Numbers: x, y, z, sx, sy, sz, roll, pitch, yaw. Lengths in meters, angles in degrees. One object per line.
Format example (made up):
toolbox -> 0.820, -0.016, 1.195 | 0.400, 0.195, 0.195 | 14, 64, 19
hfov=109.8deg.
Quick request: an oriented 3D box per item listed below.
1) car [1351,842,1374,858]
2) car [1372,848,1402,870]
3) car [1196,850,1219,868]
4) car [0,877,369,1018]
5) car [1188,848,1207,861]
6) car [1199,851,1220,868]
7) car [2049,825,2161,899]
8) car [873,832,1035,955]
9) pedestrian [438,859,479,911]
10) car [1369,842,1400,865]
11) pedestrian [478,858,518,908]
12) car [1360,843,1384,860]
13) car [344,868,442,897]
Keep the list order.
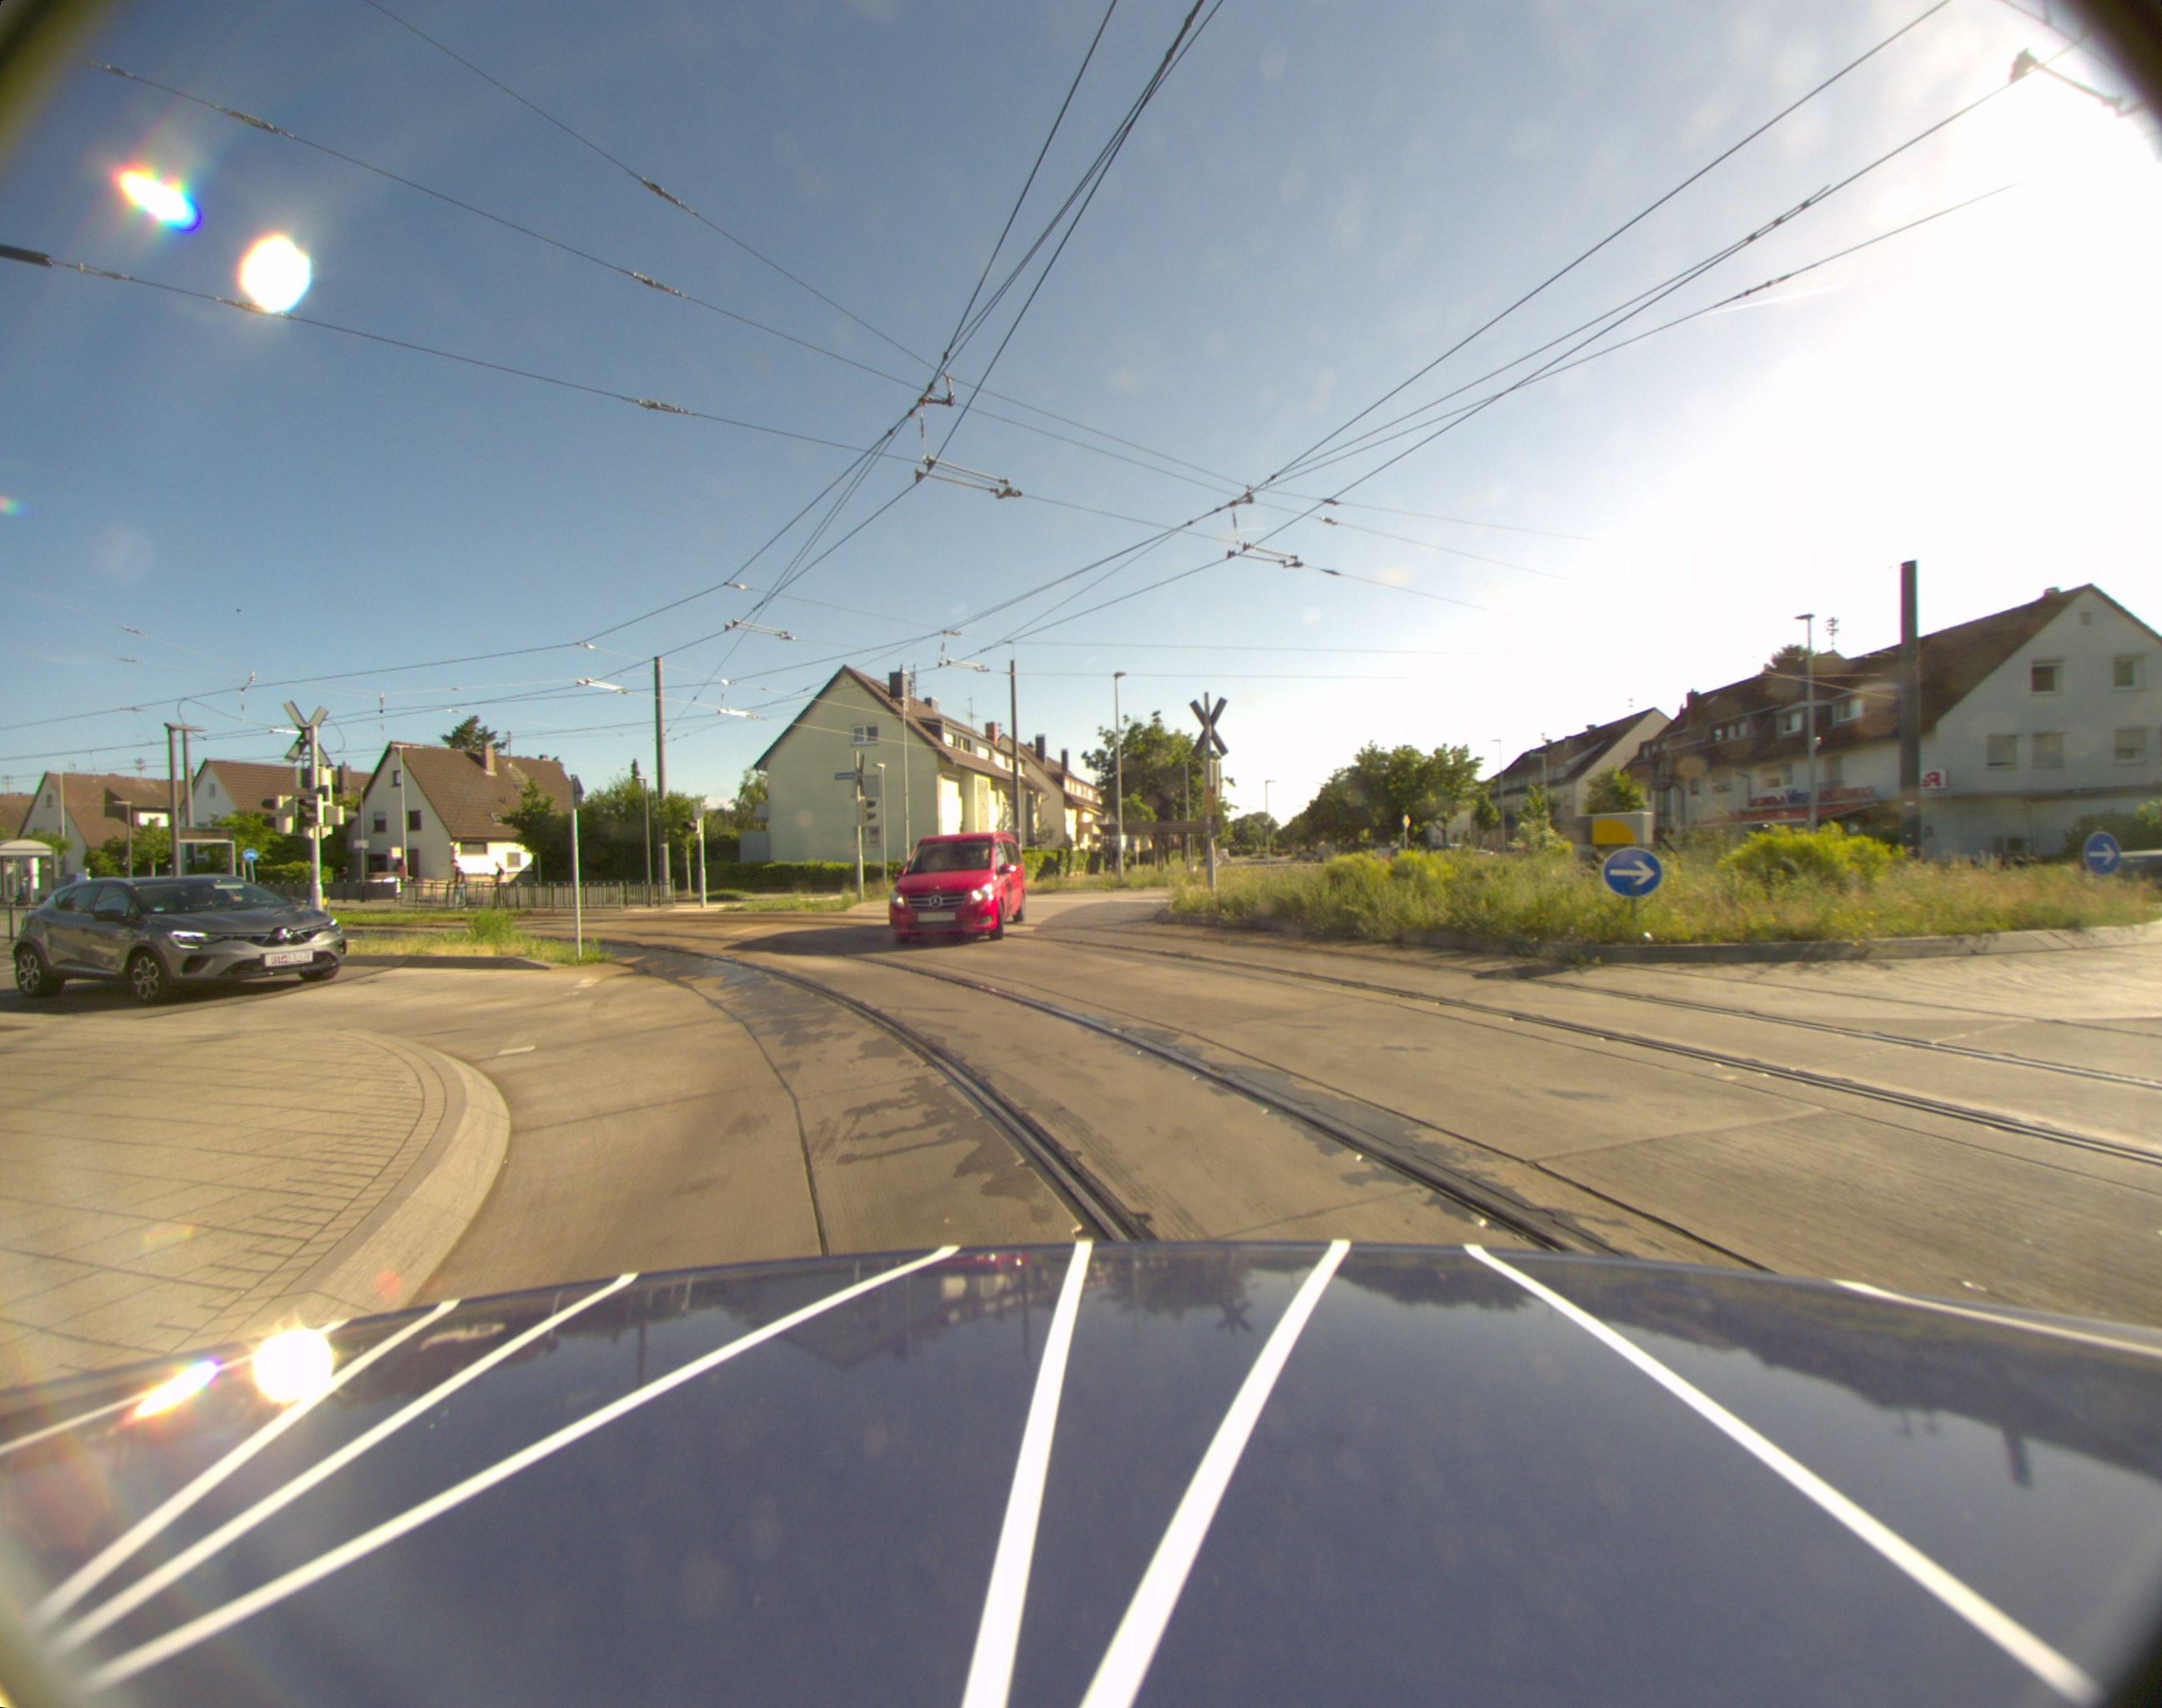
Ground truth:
car -> 30.172, -0.400, 81.444 | 1.549, 1.667, 4.224 | -1, 0, 10
car -> 26.408, 0.404, 65.627 | 1.921, 1.607, 4.287 | -1, 2, 15
car -> 11.451, 0.453, 68.578 | 1.824, 1.385, 3.792 | -1, 2, 12
car -> -12.331, 1.187, 10.465 | 3.992, 1.570, 1.833 | -2, 2, 16
car -> 13.022, 0.064, 84.654 | 1.824, 1.384, 3.872 | -1, 0, 12
car -> 12.727, 0.534, 75.010 | 1.824, 1.385, 3.871 | -1, 2, 12
car -> 25.145, 0.155, 16.667 | 4.428, 1.572, 1.839 | 0, 3, 31
car -> -2.230, 0.616, 15.006 | 1.998, 1.970, 5.238 | -2, 1, 3
pedestrian -> -21.767, 1.074, 26.585 | 0.825, 1.761, 0.689 | 0, 3, -8
car -> 28.545, -0.087, 71.611 | 1.894, 2.003, 4.373 | -1, 2, 11
pedestrian -> -20.010, 0.986, 26.101 | 0.727, 1.652, 0.795 | 0, 3, -8
car -> 29.405, -0.271, 76.884 | 1.543, 1.582, 4.080 | -1, 0, 10
car -> -42.175, 1.708, 46.702 | 1.996, 1.526, 3.995 | -1, 0, 14
